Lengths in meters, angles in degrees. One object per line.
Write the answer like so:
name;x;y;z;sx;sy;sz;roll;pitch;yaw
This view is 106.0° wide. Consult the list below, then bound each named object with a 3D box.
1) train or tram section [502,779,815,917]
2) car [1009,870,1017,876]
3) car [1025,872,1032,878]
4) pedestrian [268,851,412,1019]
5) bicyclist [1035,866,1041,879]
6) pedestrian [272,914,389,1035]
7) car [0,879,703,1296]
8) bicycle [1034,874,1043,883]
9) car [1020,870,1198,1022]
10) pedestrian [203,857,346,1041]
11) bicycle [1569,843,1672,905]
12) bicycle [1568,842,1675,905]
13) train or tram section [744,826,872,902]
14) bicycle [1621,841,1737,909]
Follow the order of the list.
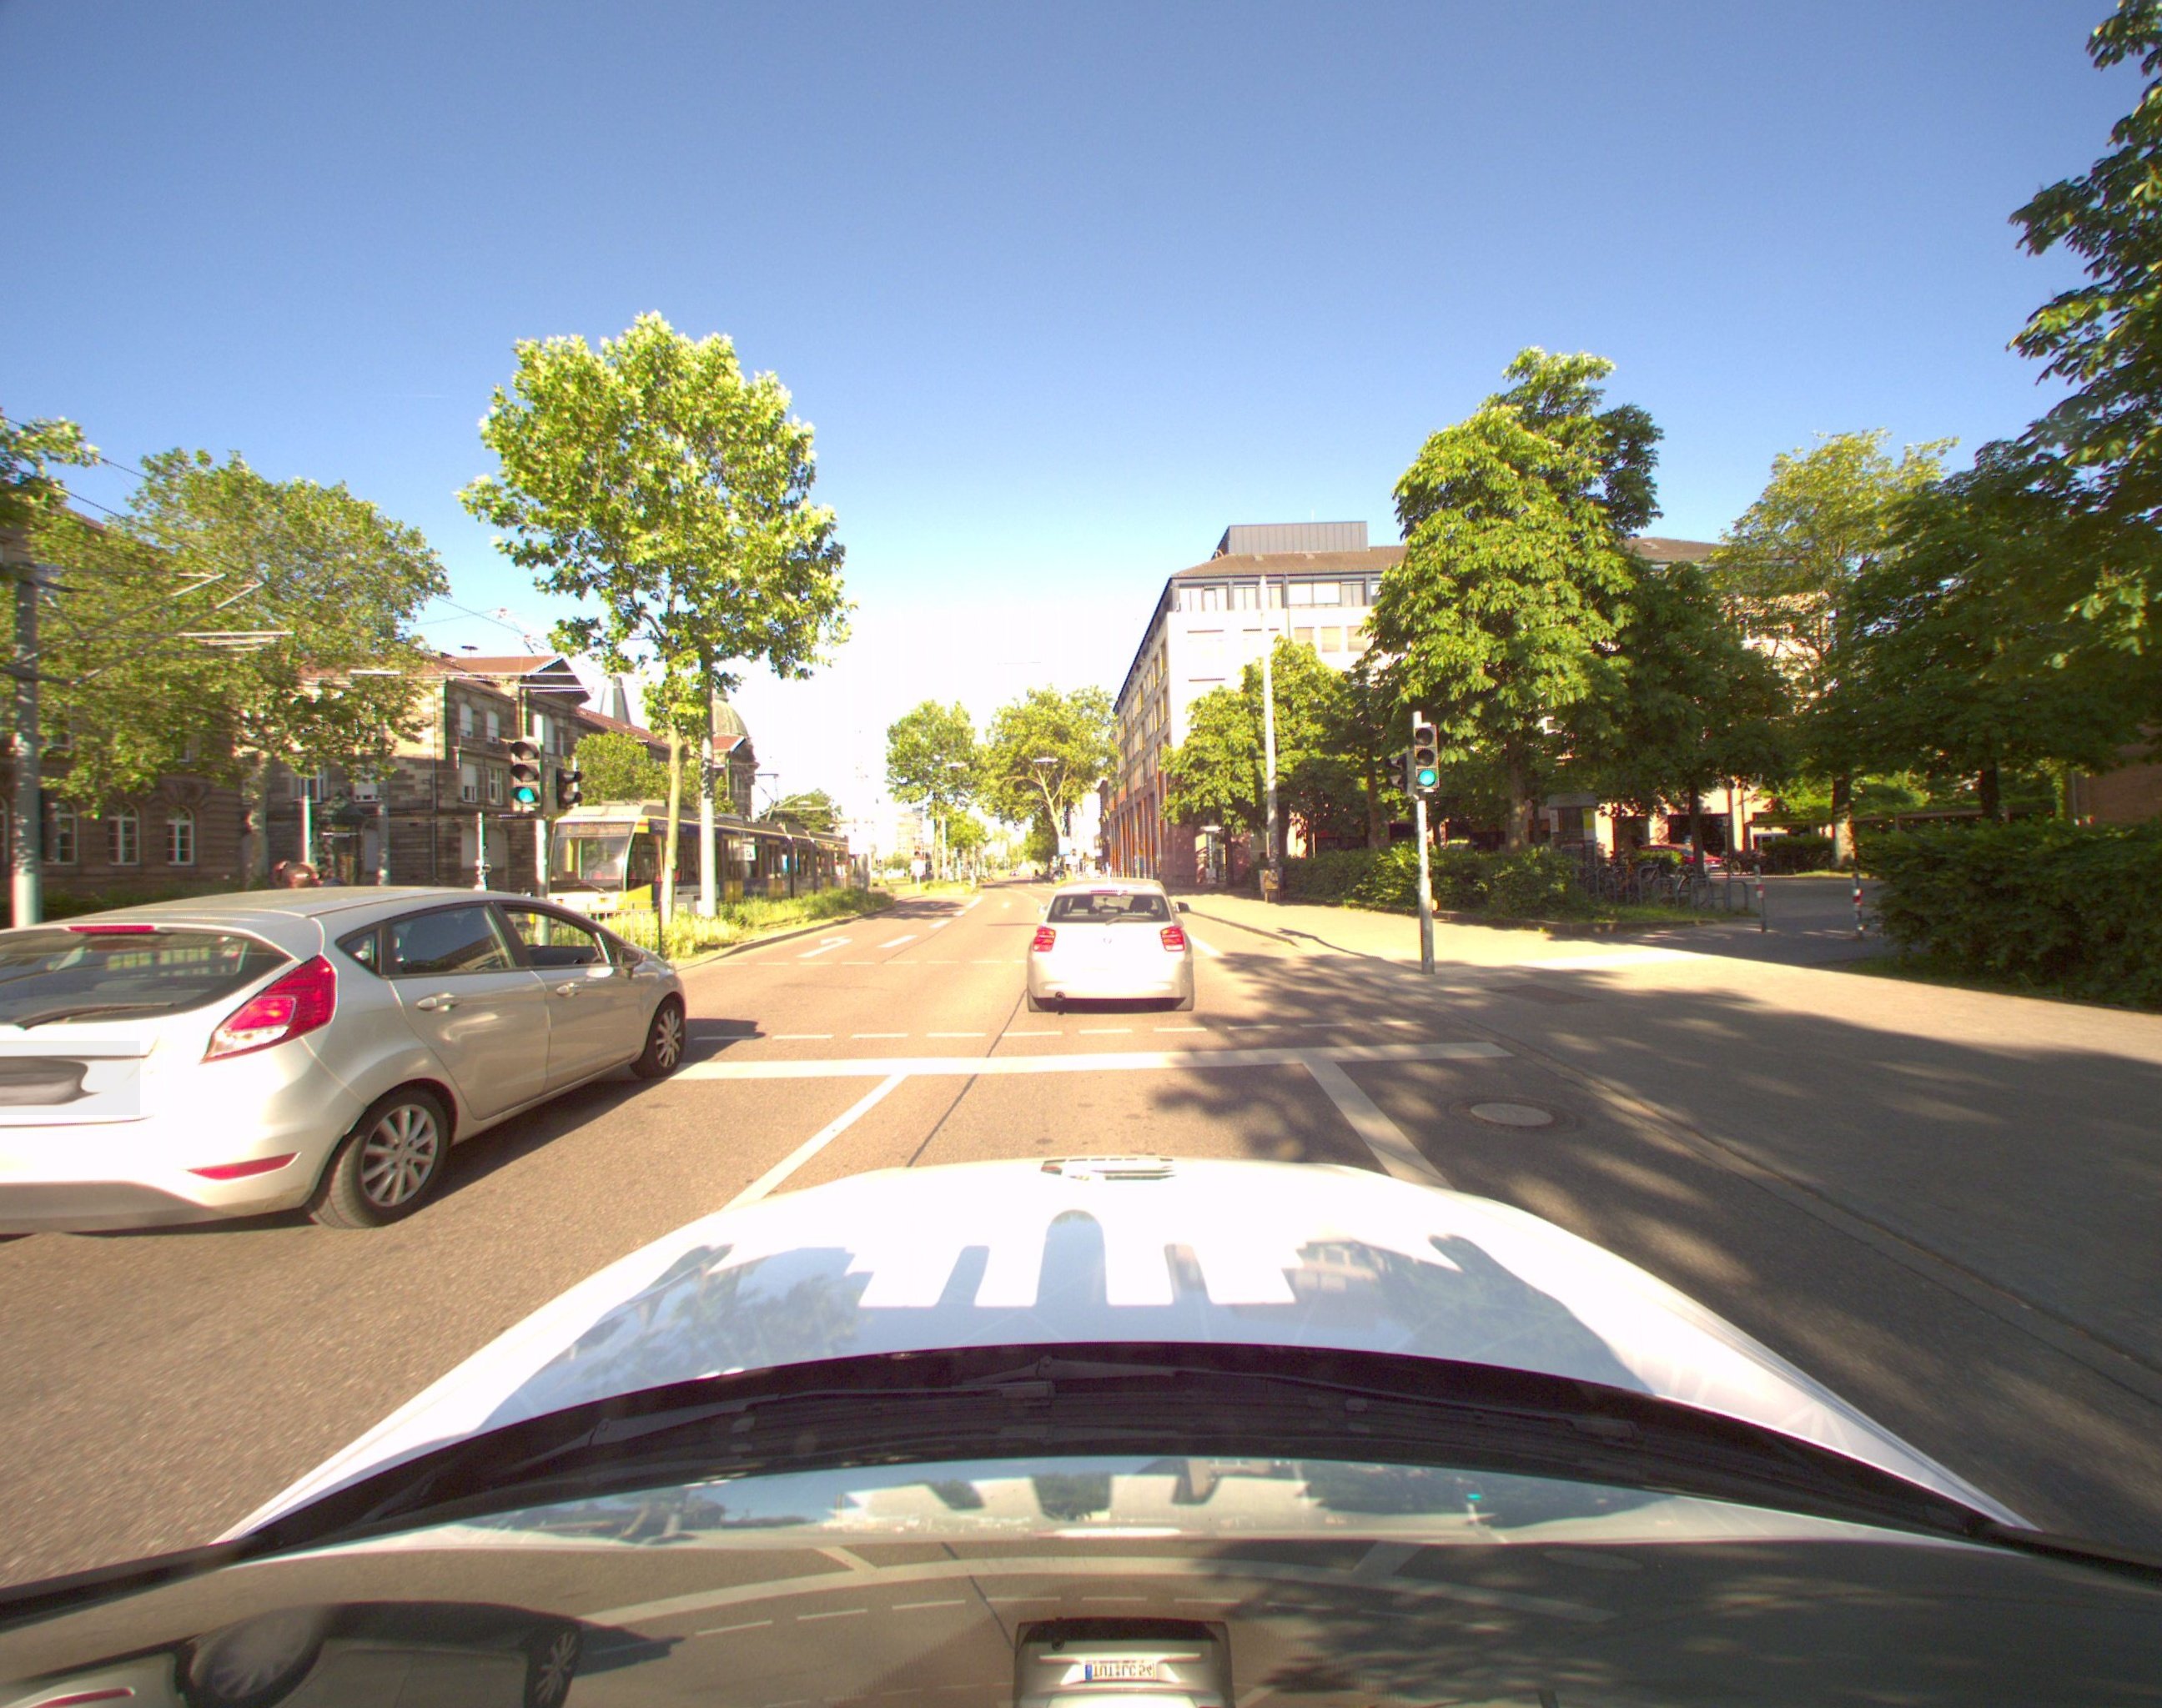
train or tram section;-12.576;0.140;27.228;2.908;3.261;15.872;0;-2;-3
car;-17.959;4.903;215.204;1.992;1.486;3.989;-2;-1;-8
car;-16.239;6.485;251.728;1.986;2.014;4.001;0;-2;2
pedestrian;-7.678;0.795;8.468;0.620;1.629;0.949;-2;-2;30
bicyclist;-5.497;2.398;103.935;0.655;1.657;0.766;-3;-1;6
pedestrian;-7.278;1.144;7.919;0.630;1.073;0.528;-2;-1;-7
car;-3.793;0.865;4.640;1.656;1.409;3.629;-1;-1;-2
bicycle;-5.465;3.081;103.997;0.827;1.041;1.877;-3;-1;6
car;0.418;0.933;9.837;1.722;1.390;3.844;0;0;4
pedestrian;-7.228;0.817;7.326;0.630;1.557;0.645;-2;-1;-7
bicycle;12.721;0.465;19.239;1.990;1.314;0.574;-3;-1;0
bicycle;12.337;0.442;18.620;1.990;1.314;0.574;-3;-1;0
train or tram section;-13.441;0.658;41.696;2.909;3.261;13.092;0;-2;-4
bicycle;12.781;0.456;17.429;1.990;1.314;0.574;-3;-1;0
